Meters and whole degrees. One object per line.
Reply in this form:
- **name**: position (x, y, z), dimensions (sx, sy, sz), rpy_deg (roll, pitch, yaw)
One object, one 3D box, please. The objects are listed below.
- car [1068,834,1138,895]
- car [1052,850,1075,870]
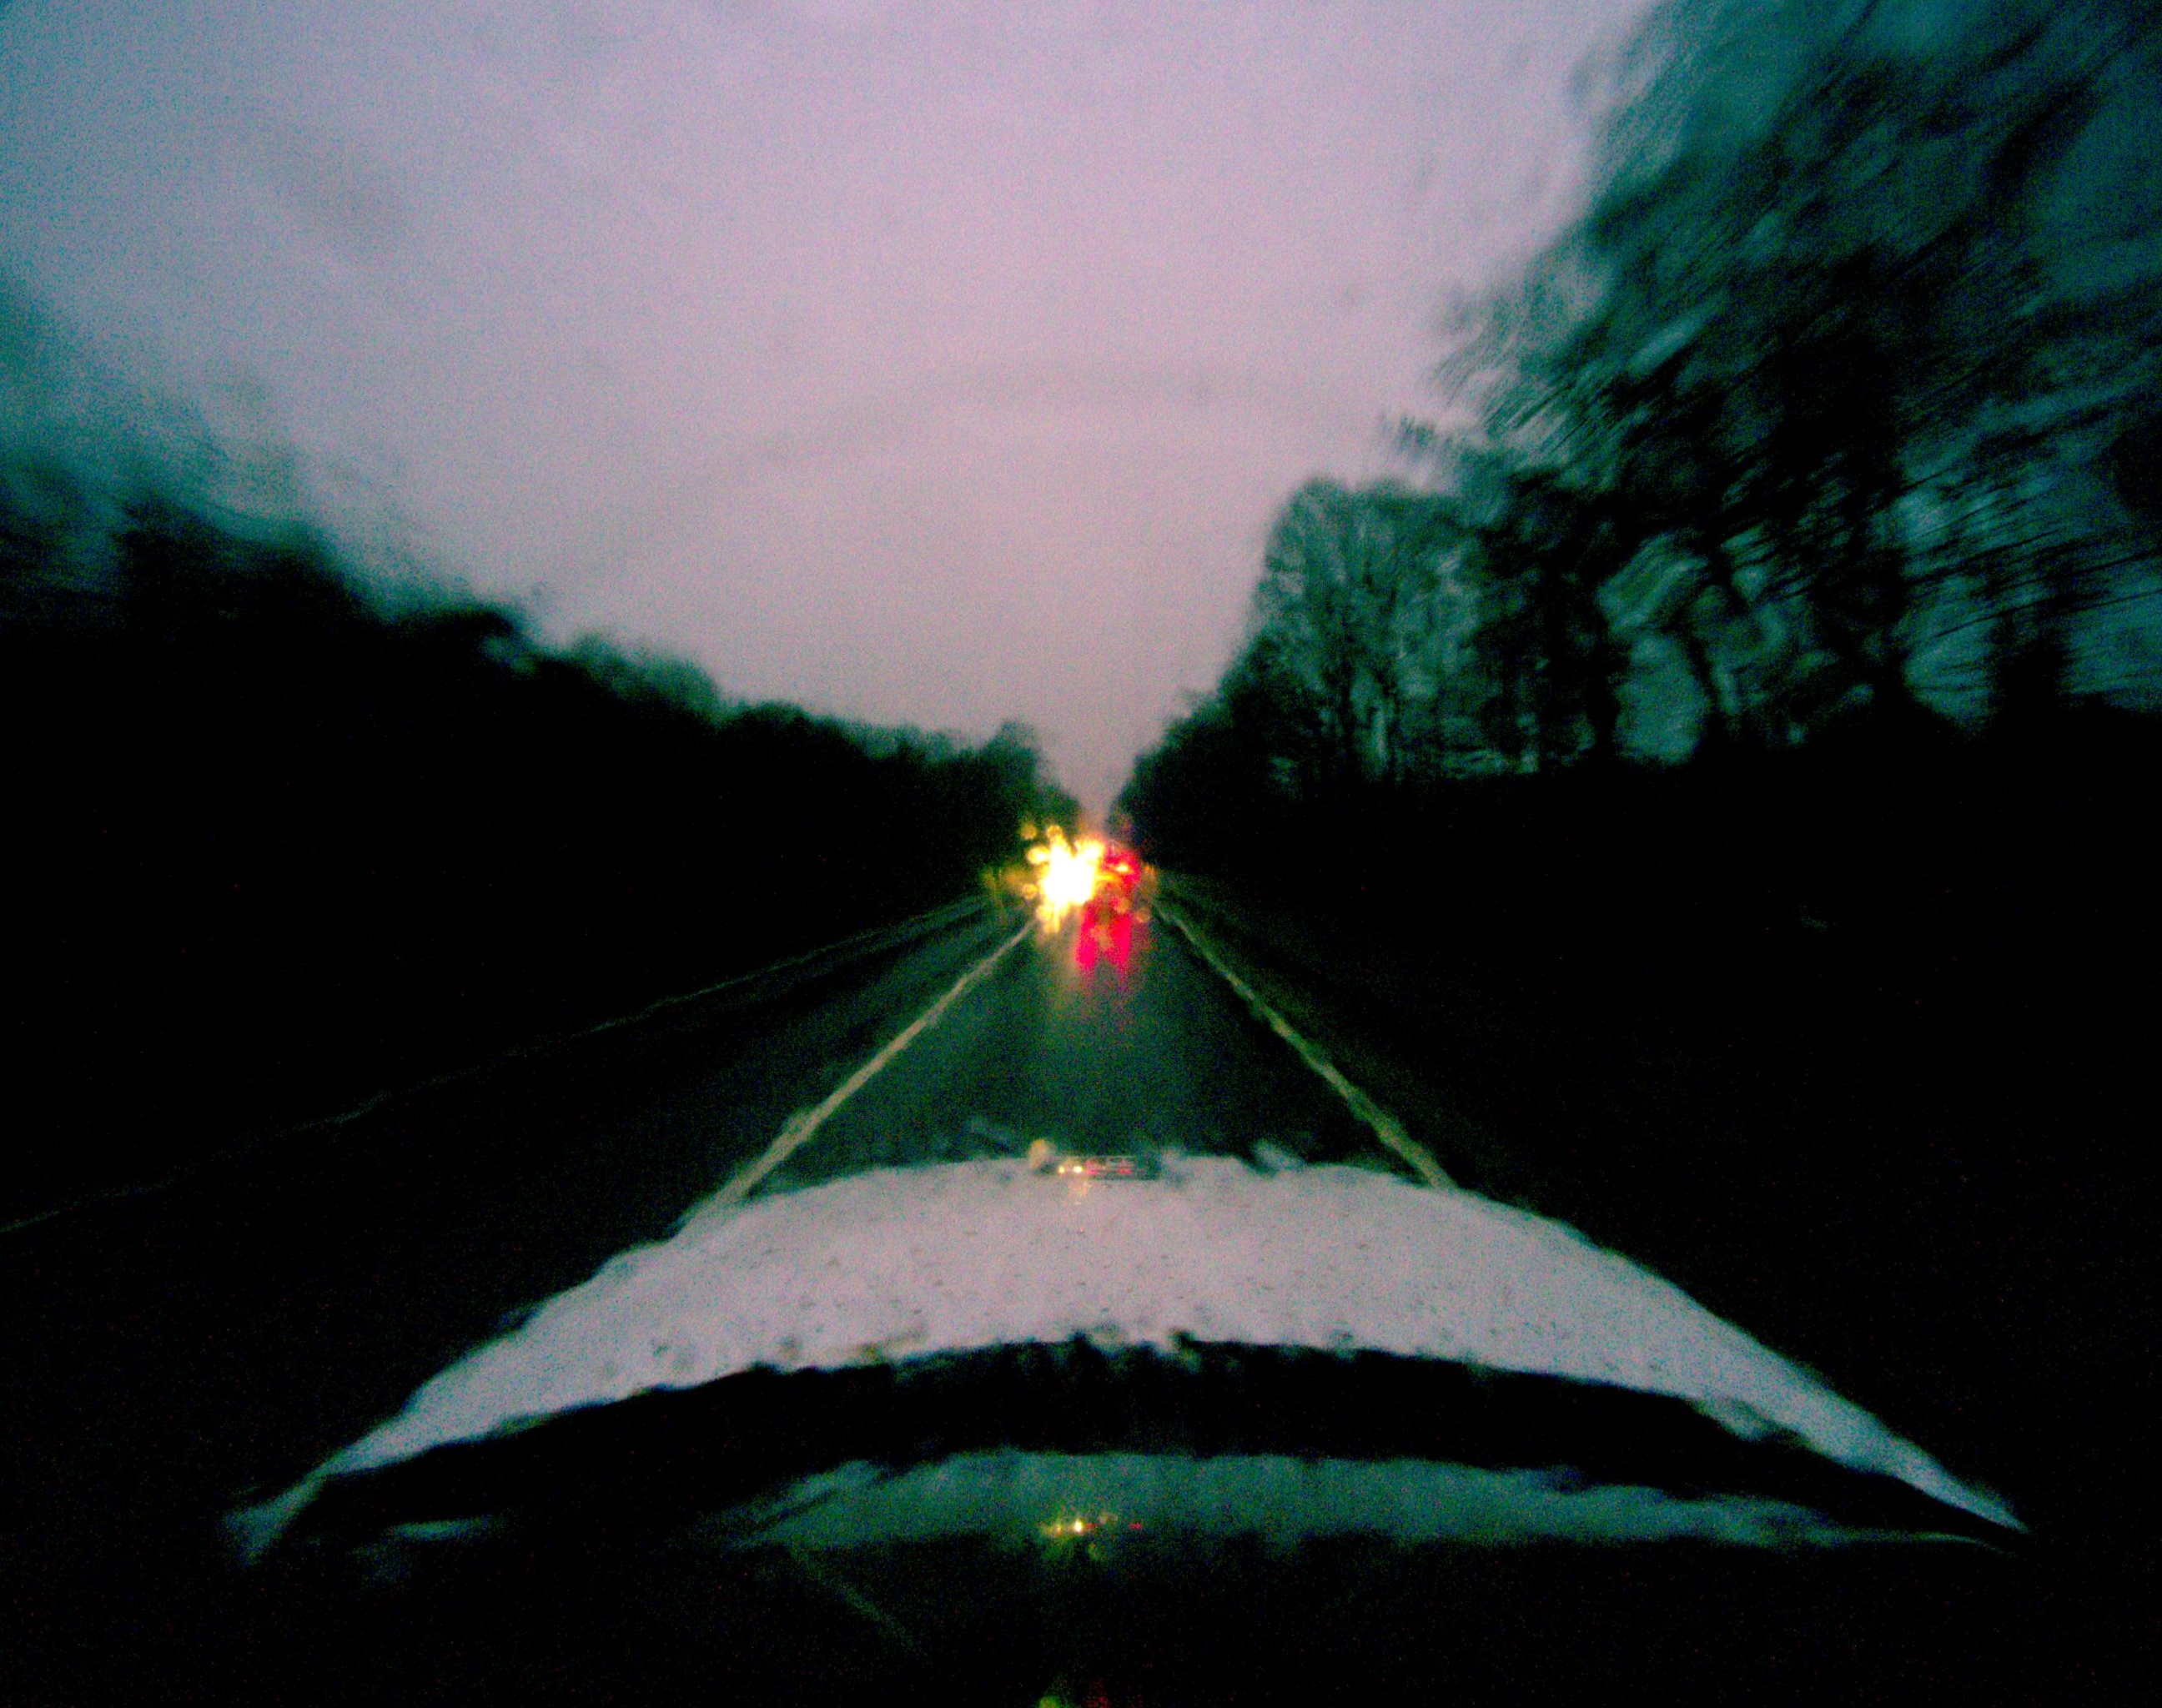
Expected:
- **car**: position (0.752, 0.301, 27.896), dimensions (2.190, 1.877, 4.828), rpy_deg (0, 1, 1)
- **car**: position (-1.457, 0.501, 67.458), dimensions (1.743, 1.552, 3.993), rpy_deg (-1, 0, 0)
